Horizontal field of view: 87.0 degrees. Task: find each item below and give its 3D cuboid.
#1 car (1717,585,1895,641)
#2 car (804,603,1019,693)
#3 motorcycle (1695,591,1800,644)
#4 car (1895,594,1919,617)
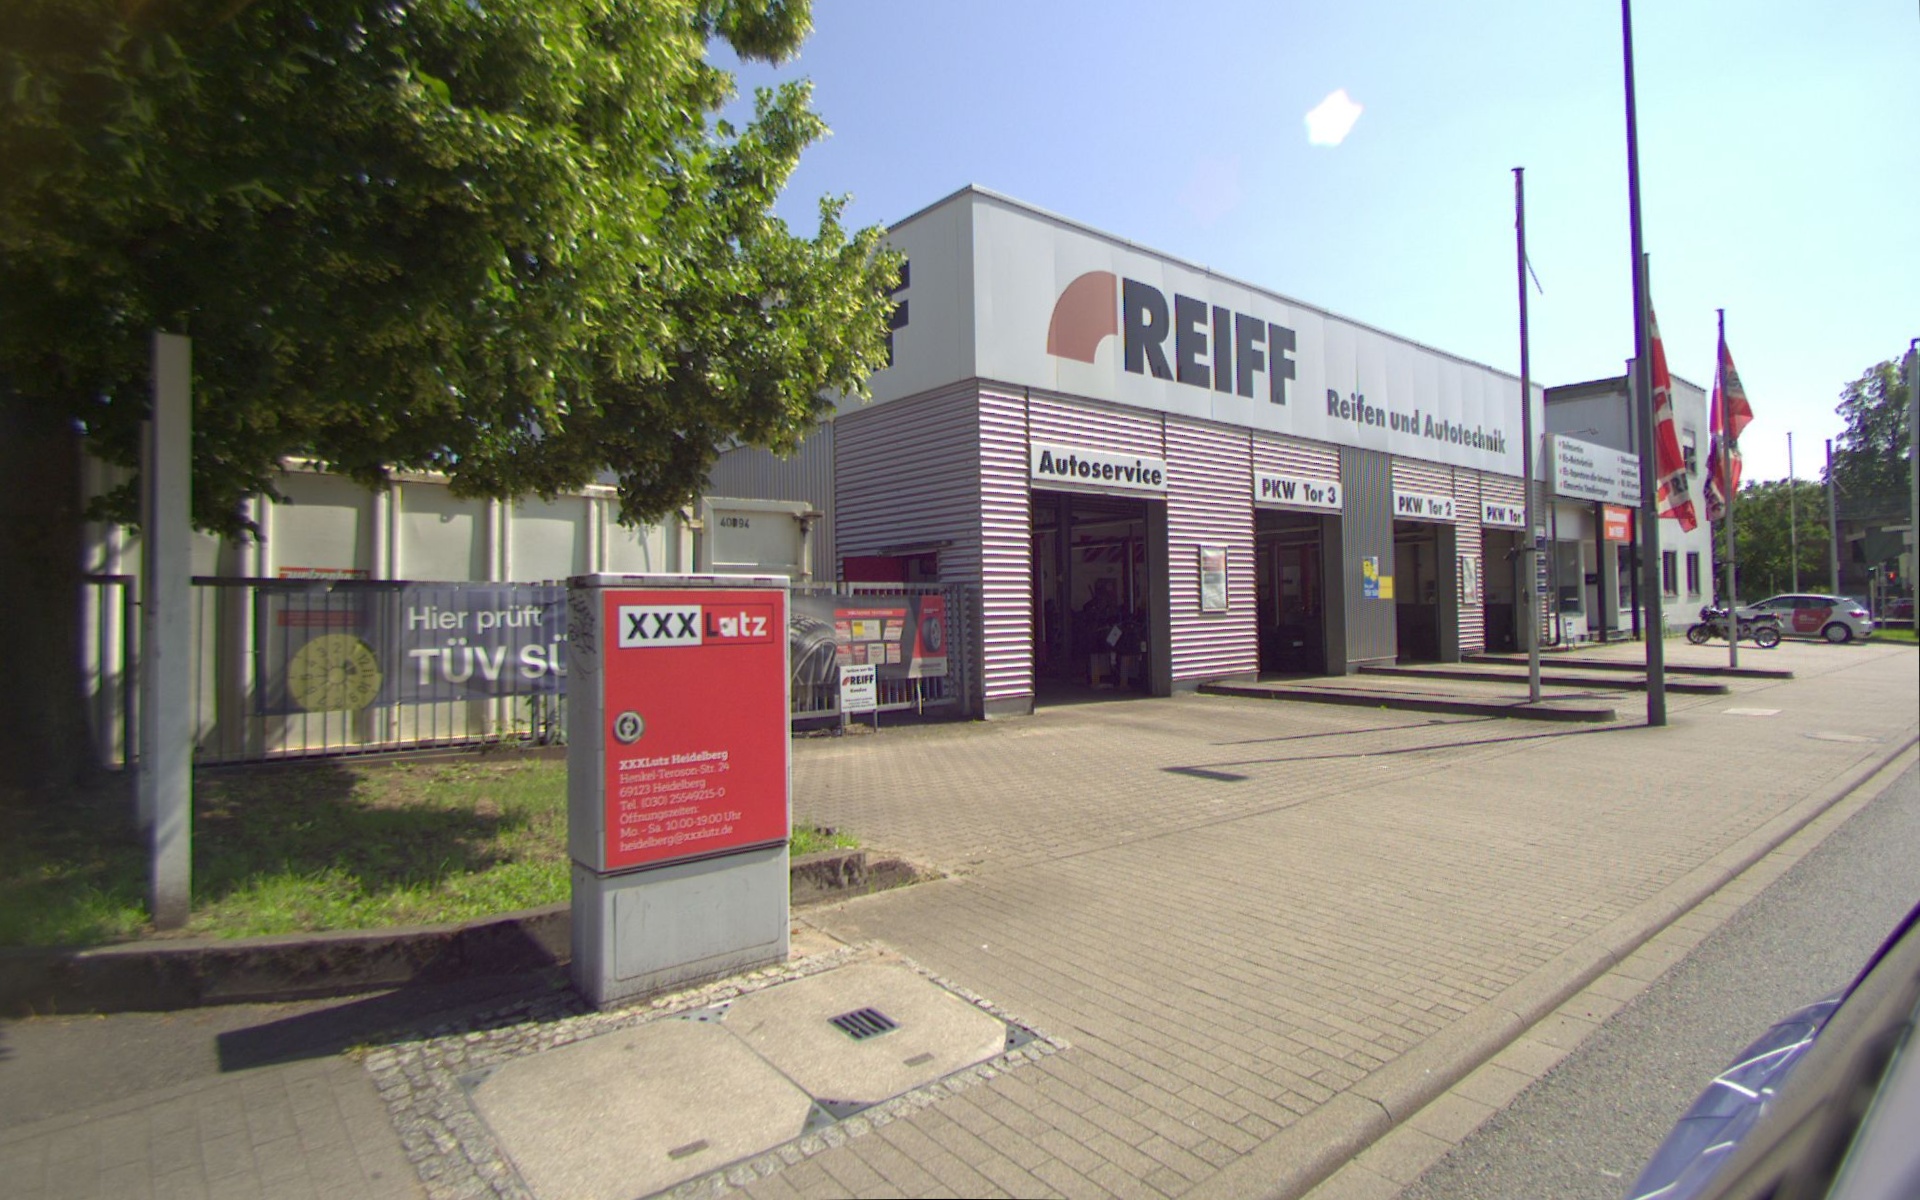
[{"bbox_3d":[26.180,0.357,31.424,1.857,1.480,3.994,0,3,-42],"label":"car"},{"bbox_3d":[-0.932,0.774,17.681,1.697,1.394,3.763,0,-1,-45],"label":"car"},{"bbox_3d":[21.821,0.455,28.094,0.718,1.324,2.187,-1,3,-41],"label":"motorcycle"},{"bbox_3d":[68.958,0.386,72.470,1.805,1.624,4.265,-3,-2,27],"label":"car"}]
